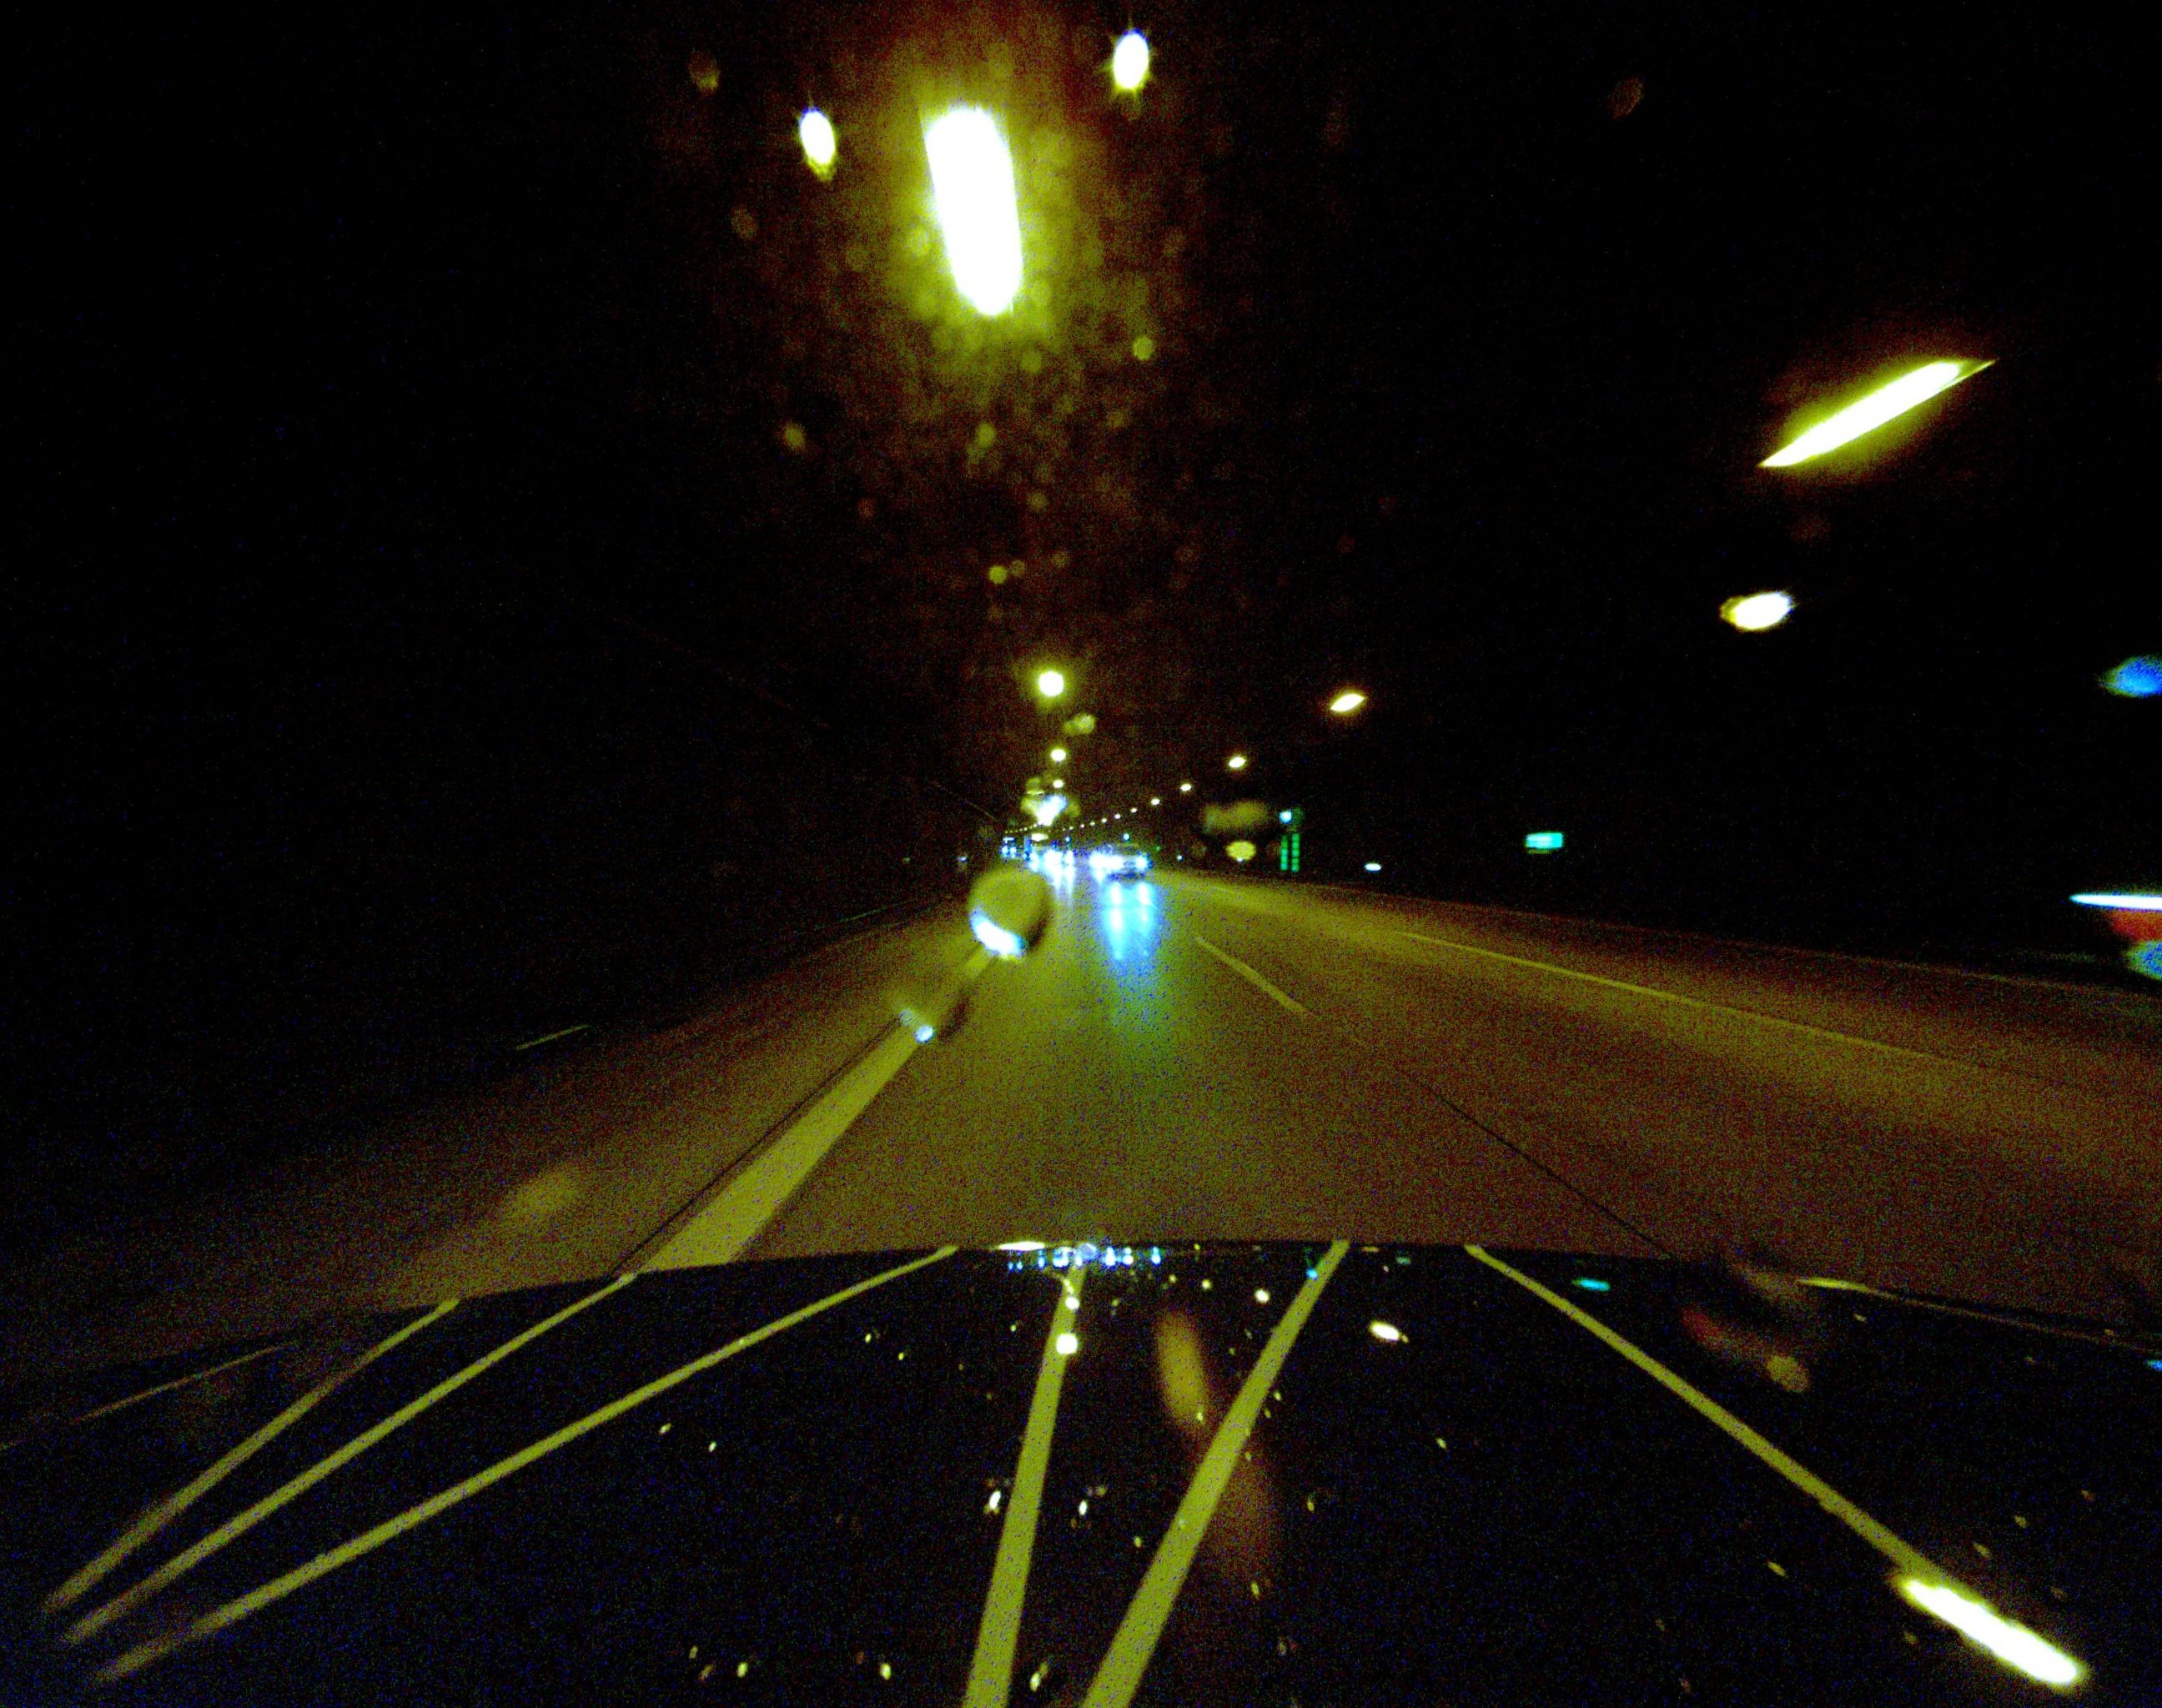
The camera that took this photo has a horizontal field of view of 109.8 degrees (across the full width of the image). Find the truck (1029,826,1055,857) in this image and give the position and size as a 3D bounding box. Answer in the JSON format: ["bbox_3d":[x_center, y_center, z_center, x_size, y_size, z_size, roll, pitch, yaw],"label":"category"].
[{"bbox_3d":[-5.665,-1.848,109.158,3.144,4.137,7.380,-2,3,-7],"label":"truck"}]

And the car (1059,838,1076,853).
[{"bbox_3d":[-2.037,-1.239,113.984,2.000,2.003,3.995,-2,3,-7],"label":"car"}]

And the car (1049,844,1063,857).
[{"bbox_3d":[-4.180,-0.597,128.617,1.999,1.810,3.995,-2,3,-6],"label":"car"}]

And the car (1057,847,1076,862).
[{"bbox_3d":[-1.606,0.068,82.176,1.759,1.567,3.998,-2,0,-4],"label":"car"}]

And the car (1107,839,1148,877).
[{"bbox_3d":[2.606,0.215,43.704,1.999,2.002,4.360,-2,0,0],"label":"car"}]

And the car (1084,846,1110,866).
[{"bbox_3d":[1.363,0.193,66.520,1.911,1.638,3.998,-2,0,-4],"label":"car"}]
